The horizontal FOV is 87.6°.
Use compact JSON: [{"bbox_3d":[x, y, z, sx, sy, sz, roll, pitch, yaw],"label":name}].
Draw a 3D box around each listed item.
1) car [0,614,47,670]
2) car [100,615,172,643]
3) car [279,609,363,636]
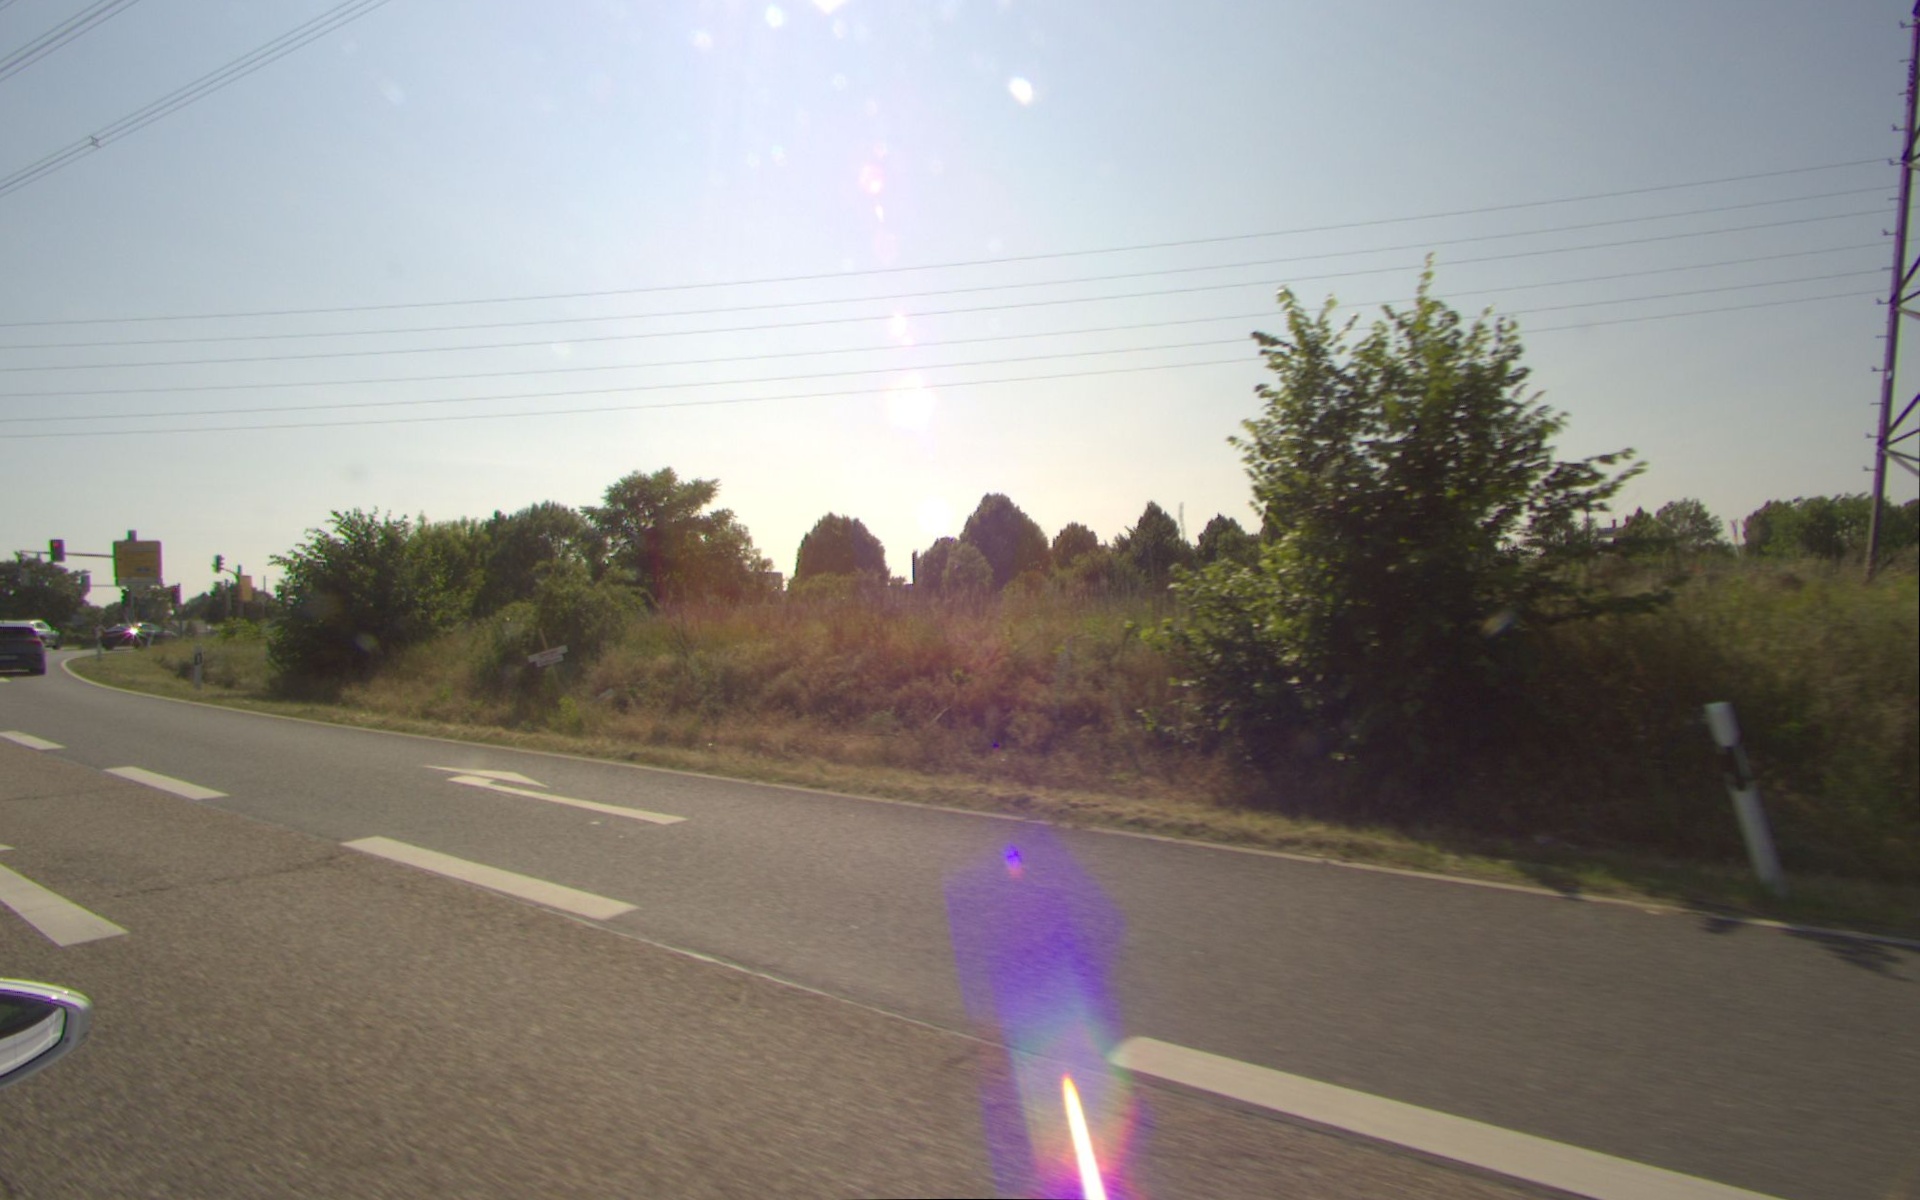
[{"bbox_3d":[-27.978,1.182,29.208,4.057,1.537,1.762,-1,0,45],"label":"car"},{"bbox_3d":[-45.695,1.588,55.639,1.617,1.404,3.992,-1,0,-17],"label":"car"},{"bbox_3d":[-47.485,1.658,74.492,4.855,1.943,1.998,0,0,-11],"label":"car"}]
